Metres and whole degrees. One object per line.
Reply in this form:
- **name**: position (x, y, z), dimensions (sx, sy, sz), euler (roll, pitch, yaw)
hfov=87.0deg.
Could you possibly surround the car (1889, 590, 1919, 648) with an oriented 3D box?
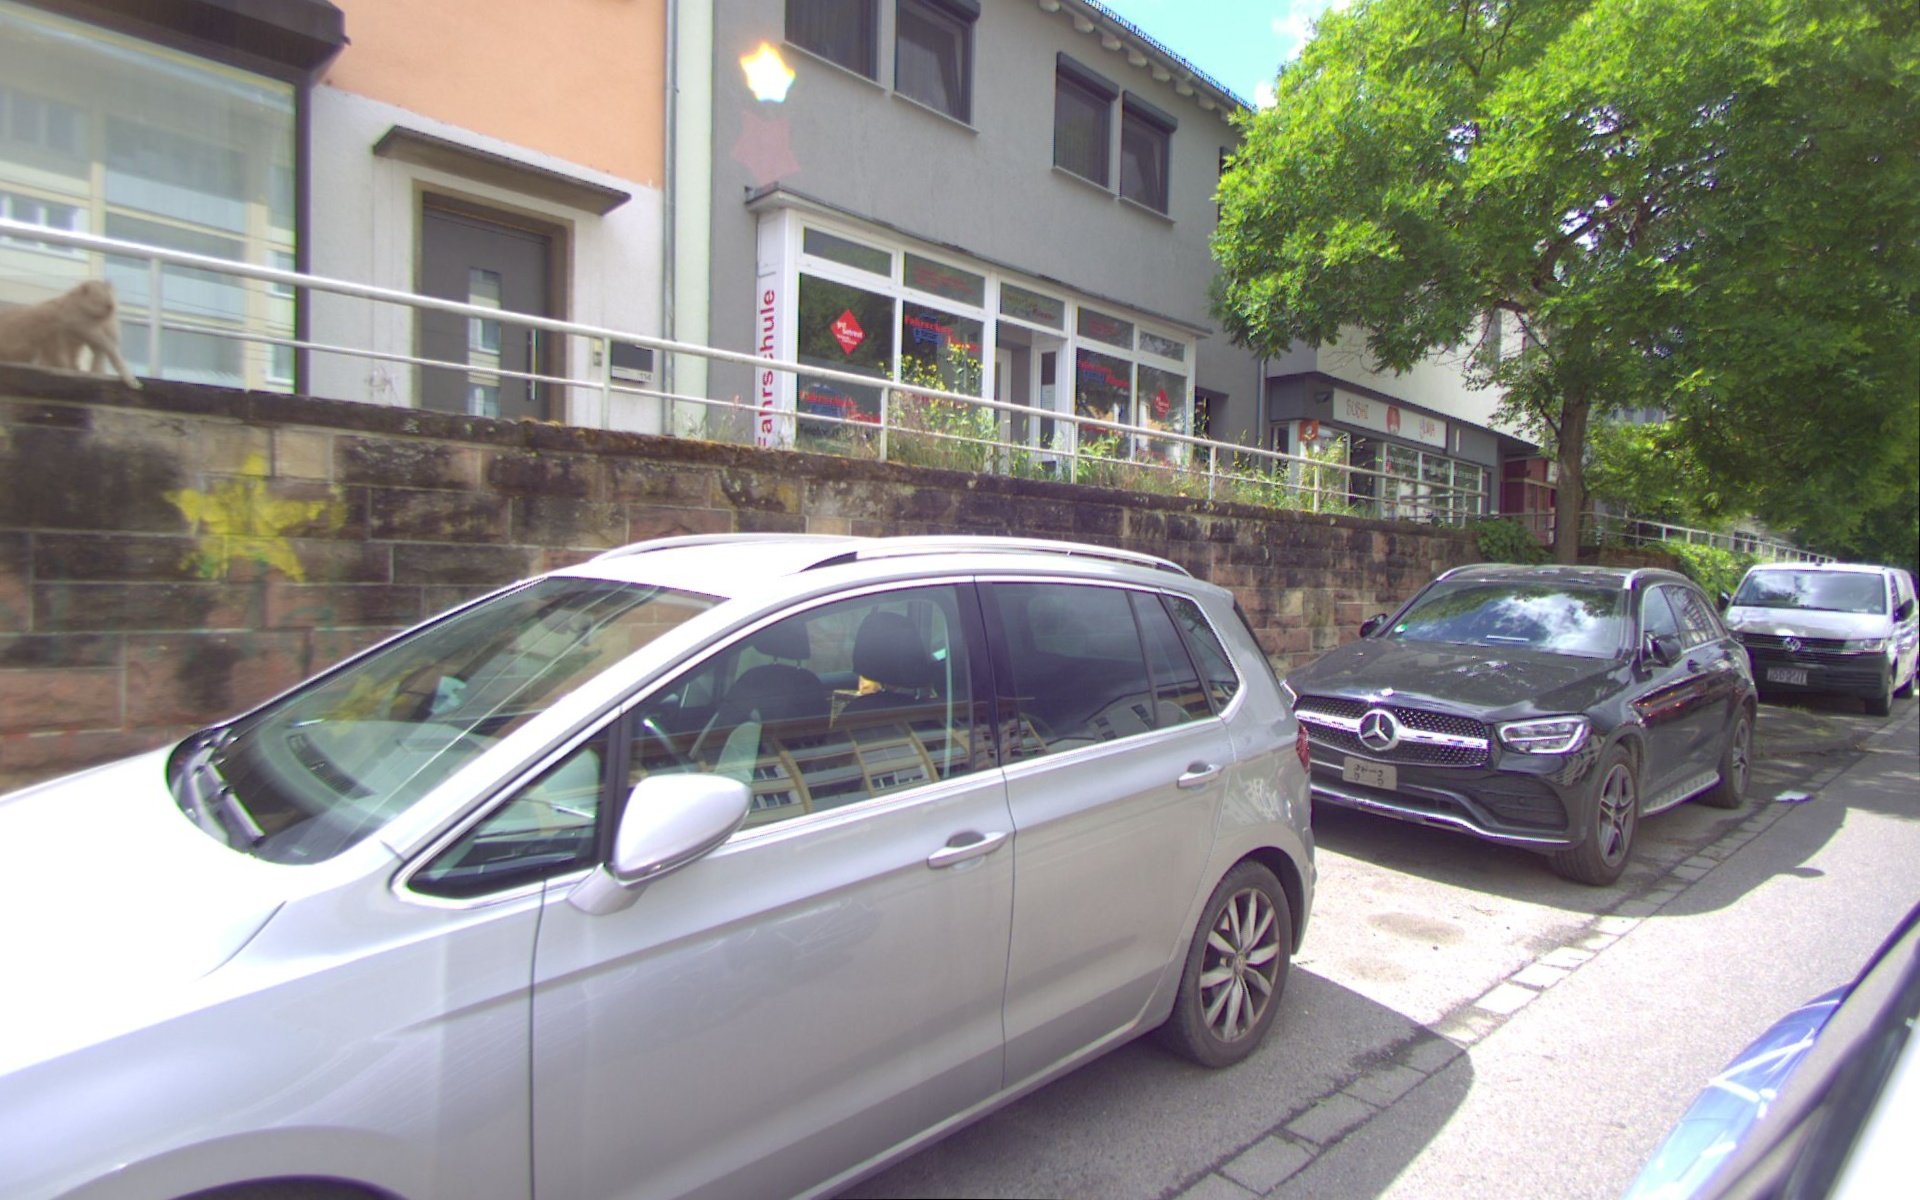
- **car**: position (25.630, 0.476, 26.292), dimensions (4.075, 1.446, 1.783), euler (0, 1, -41)

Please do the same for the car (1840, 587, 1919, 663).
- **car**: position (20.477, 0.504, 21.867), dimensions (4.076, 1.445, 1.783), euler (-1, 4, -44)

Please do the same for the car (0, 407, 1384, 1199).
- **car**: position (-0.710, 0.546, 2.757), dimensions (4.175, 1.637, 1.793), euler (0, 3, -42)

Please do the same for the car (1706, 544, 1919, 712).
- **car**: position (12.504, 0.298, 14.437), dimensions (4.926, 1.994, 1.976), euler (0, 1, -41)

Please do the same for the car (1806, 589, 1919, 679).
- **car**: position (16.637, 0.536, 18.252), dimensions (3.670, 1.446, 1.577), euler (0, 1, -41)

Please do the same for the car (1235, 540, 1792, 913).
- **car**: position (3.832, 0.510, 6.625), dimensions (4.371, 1.637, 1.793), euler (0, 3, -42)
